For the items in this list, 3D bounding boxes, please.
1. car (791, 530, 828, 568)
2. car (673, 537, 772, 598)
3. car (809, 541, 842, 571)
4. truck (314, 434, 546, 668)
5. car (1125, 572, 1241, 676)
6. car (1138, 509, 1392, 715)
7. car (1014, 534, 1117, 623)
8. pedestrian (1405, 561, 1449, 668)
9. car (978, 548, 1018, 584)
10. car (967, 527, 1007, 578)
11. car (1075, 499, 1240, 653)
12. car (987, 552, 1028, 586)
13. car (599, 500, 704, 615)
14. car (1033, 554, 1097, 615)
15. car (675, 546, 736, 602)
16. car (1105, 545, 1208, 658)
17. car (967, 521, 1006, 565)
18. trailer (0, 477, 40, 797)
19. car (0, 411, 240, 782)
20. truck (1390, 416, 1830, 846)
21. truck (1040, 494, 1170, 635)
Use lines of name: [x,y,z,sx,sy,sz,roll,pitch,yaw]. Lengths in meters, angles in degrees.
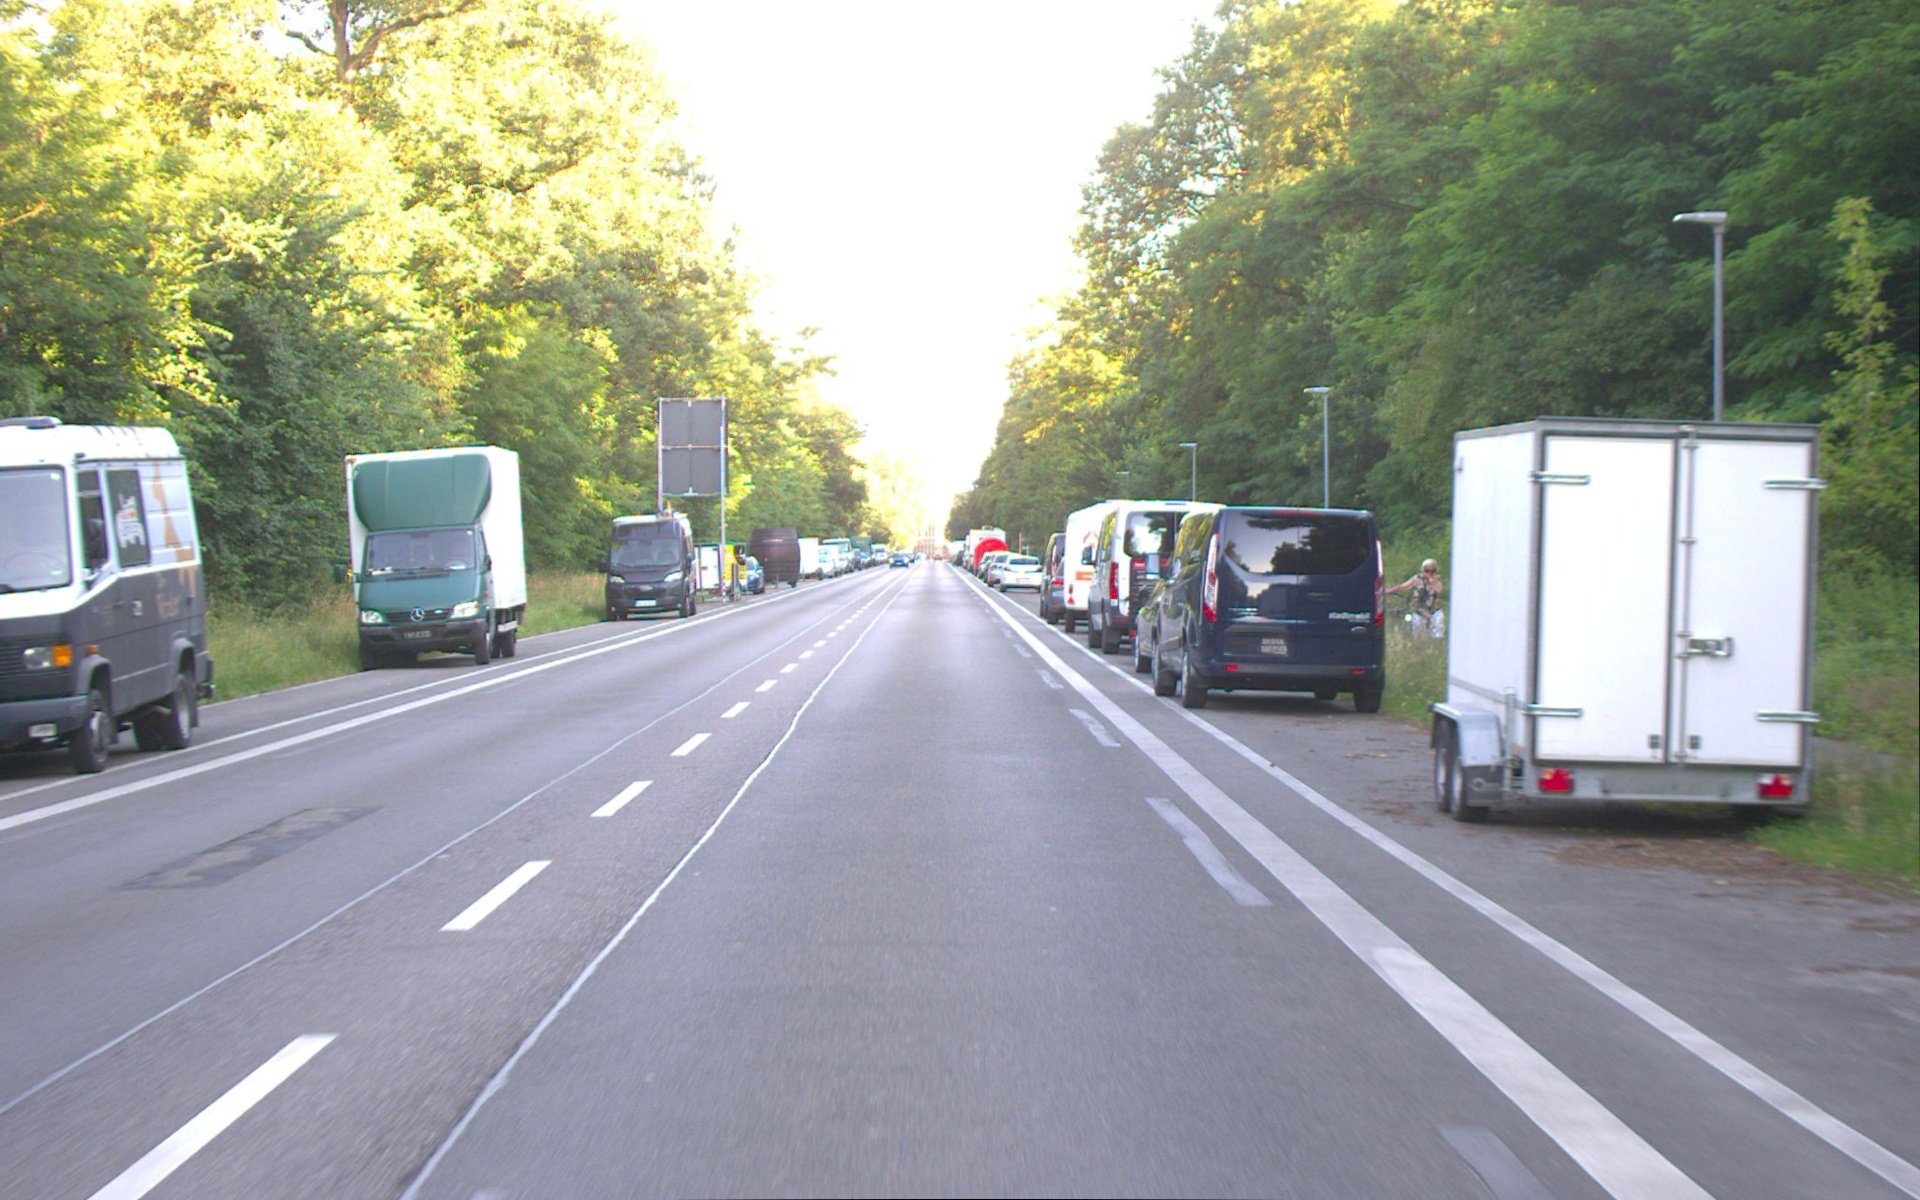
car: [-8.556,-2.899,195.245,1.993,2.007,4.000,-1,-1,-3]
car: [-8.076,-1.105,117.313,1.702,2.007,3.995,2,1,23]
car: [-9.133,-2.978,233.395,1.993,2.007,4.000,-1,1,1]
truck: [-8.060,-0.767,53.024,2.504,3.317,6.842,-1,1,-1]
car: [2.794,0.286,43.397,1.147,1.247,2.754,1,1,-3]
car: [3.037,0.095,35.094,1.993,1.948,4.300,1,1,-3]
car: [2.373,-0.508,78.402,1.993,1.948,4.300,1,1,-3]
pedestrian: [6.291,0.195,46.347,0.466,1.412,0.717,-1,0,-1]
car: [1.657,-1.490,150.068,1.645,1.481,4.000,1,1,-1]
car: [1.652,-2.954,214.269,2.314,3.082,5.639,1,1,-1]
car: [3.073,-0.393,54.356,2.141,2.306,4.300,1,1,-3]
car: [1.822,-1.201,132.333,1.427,1.218,3.412,-3,1,0]
car: [-7.833,-1.097,87.671,2.186,2.779,5.334,-1,1,-1]
car: [2.230,-0.341,73.280,1.147,1.247,2.754,1,1,-3]
car: [-8.055,-0.842,108.960,1.771,1.666,4.001,1,1,-2]
car: [2.765,0.006,48.743,1.147,1.541,2.754,1,1,-3]
car: [1.968,-4.283,257.807,2.742,3.109,5.740,-1,-1,-1]
trailer: [-7.906,0.295,21.929,1.965,2.147,3.926,-1,1,21]
car: [-7.477,-0.052,27.454,2.249,2.638,5.721,-1,1,-1]
truck: [3.754,0.144,20.593,1.885,2.276,4.299,1,1,1]
truck: [2.800,-0.698,67.442,2.141,2.650,4.300,1,1,-3]
